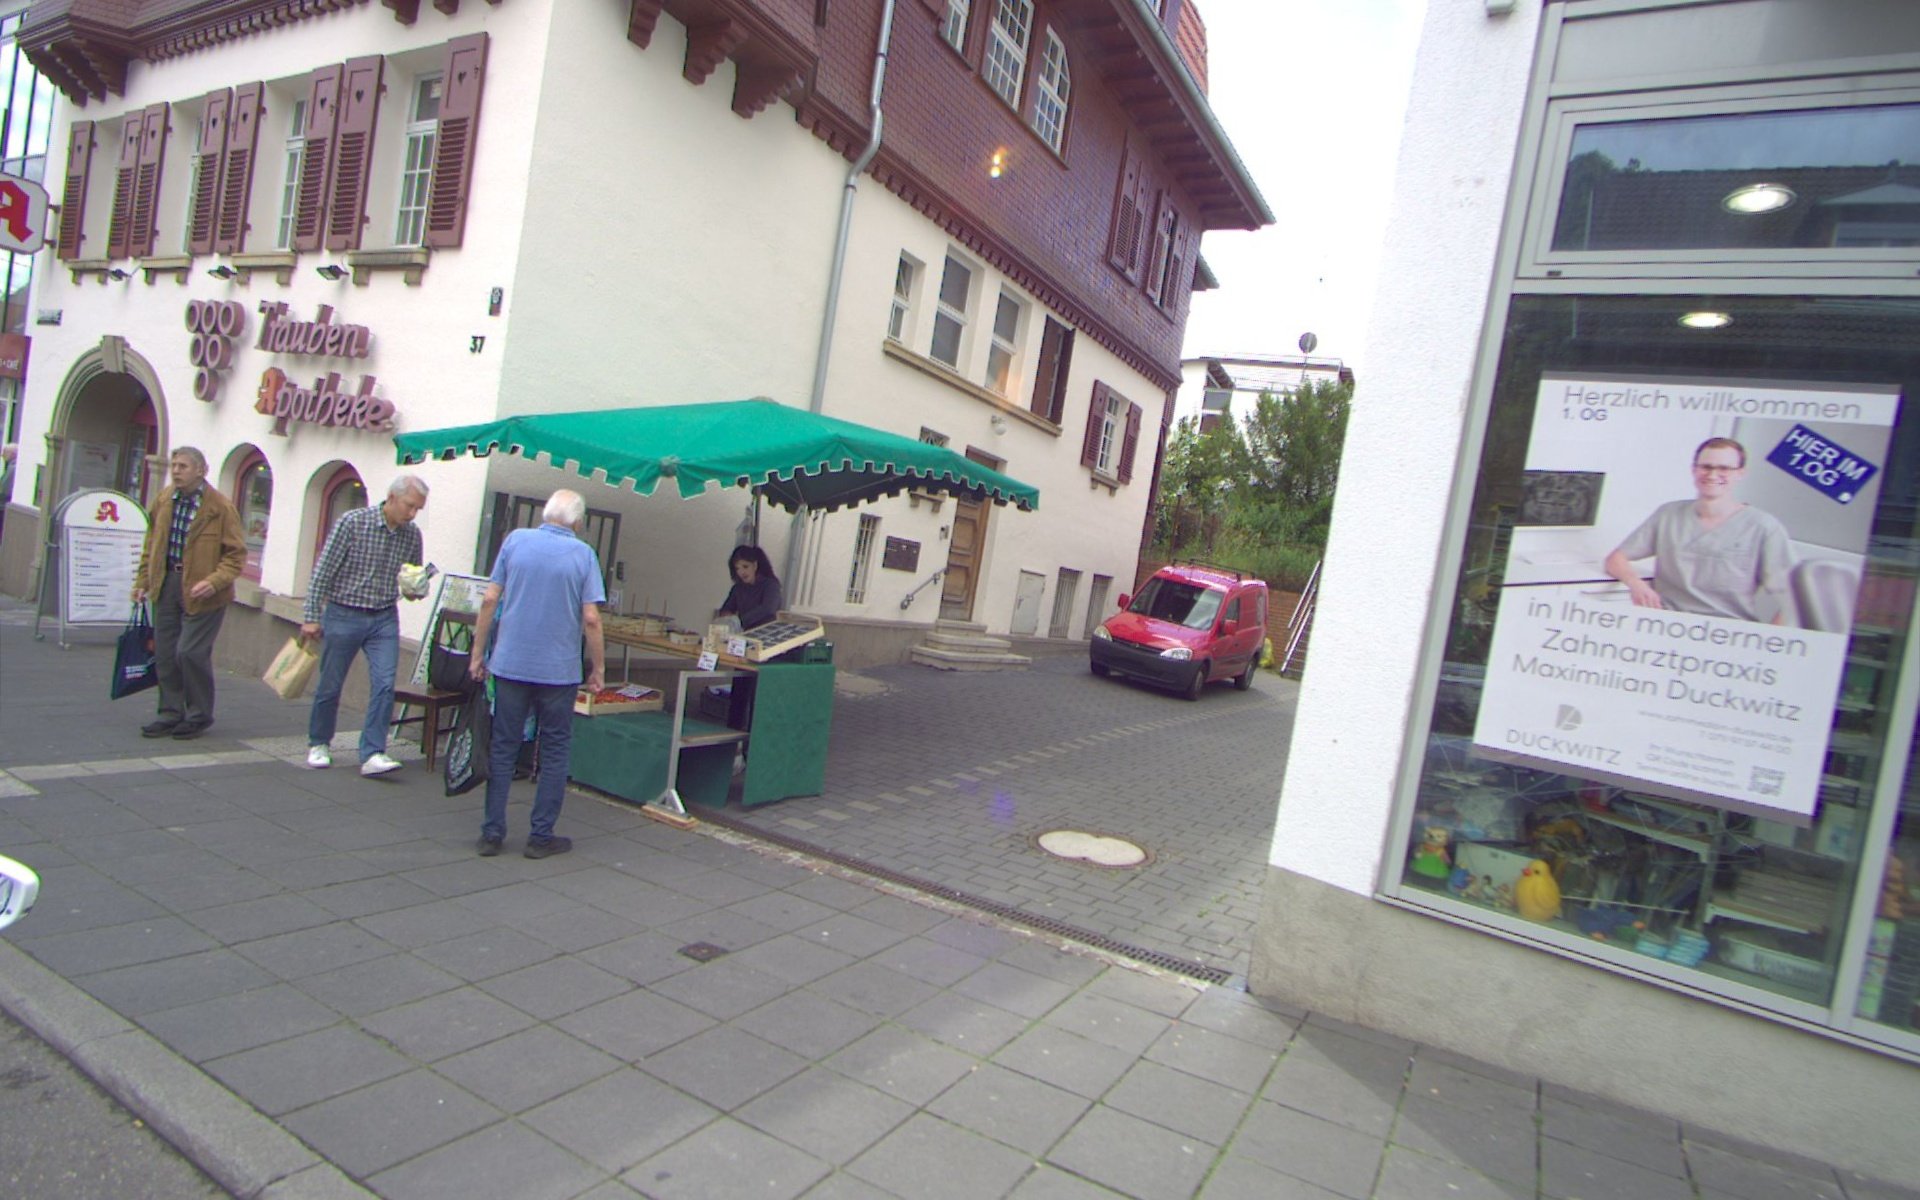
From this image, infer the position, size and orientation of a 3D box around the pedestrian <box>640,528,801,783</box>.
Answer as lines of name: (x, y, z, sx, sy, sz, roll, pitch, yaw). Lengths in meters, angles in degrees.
pedestrian: (-1.665, 0.375, 7.008, 0.692, 1.633, 0.623, 8, 2, 36)

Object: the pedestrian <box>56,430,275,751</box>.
pedestrian: (-4.878, -0.055, 6.187, 0.665, 1.824, 0.785, 8, 2, 37)

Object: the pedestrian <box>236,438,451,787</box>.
pedestrian: (-3.614, 0.083, 5.975, 0.769, 1.881, 0.700, 6, 2, -17)

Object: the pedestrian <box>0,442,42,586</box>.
pedestrian: (-12.477, -1.140, 12.877, 0.804, 1.791, 0.775, 8, 1, 32)

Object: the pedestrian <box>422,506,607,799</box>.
pedestrian: (-2.716, 0.304, 6.145, 0.692, 1.633, 0.623, 8, 2, 36)

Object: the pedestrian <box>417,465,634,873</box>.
pedestrian: (-2.094, 0.318, 4.825, 0.696, 1.789, 0.620, 6, 2, -34)

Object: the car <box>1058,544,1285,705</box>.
car: (3.358, 0.347, 15.341, 1.842, 1.865, 4.149, 12, 5, 31)
